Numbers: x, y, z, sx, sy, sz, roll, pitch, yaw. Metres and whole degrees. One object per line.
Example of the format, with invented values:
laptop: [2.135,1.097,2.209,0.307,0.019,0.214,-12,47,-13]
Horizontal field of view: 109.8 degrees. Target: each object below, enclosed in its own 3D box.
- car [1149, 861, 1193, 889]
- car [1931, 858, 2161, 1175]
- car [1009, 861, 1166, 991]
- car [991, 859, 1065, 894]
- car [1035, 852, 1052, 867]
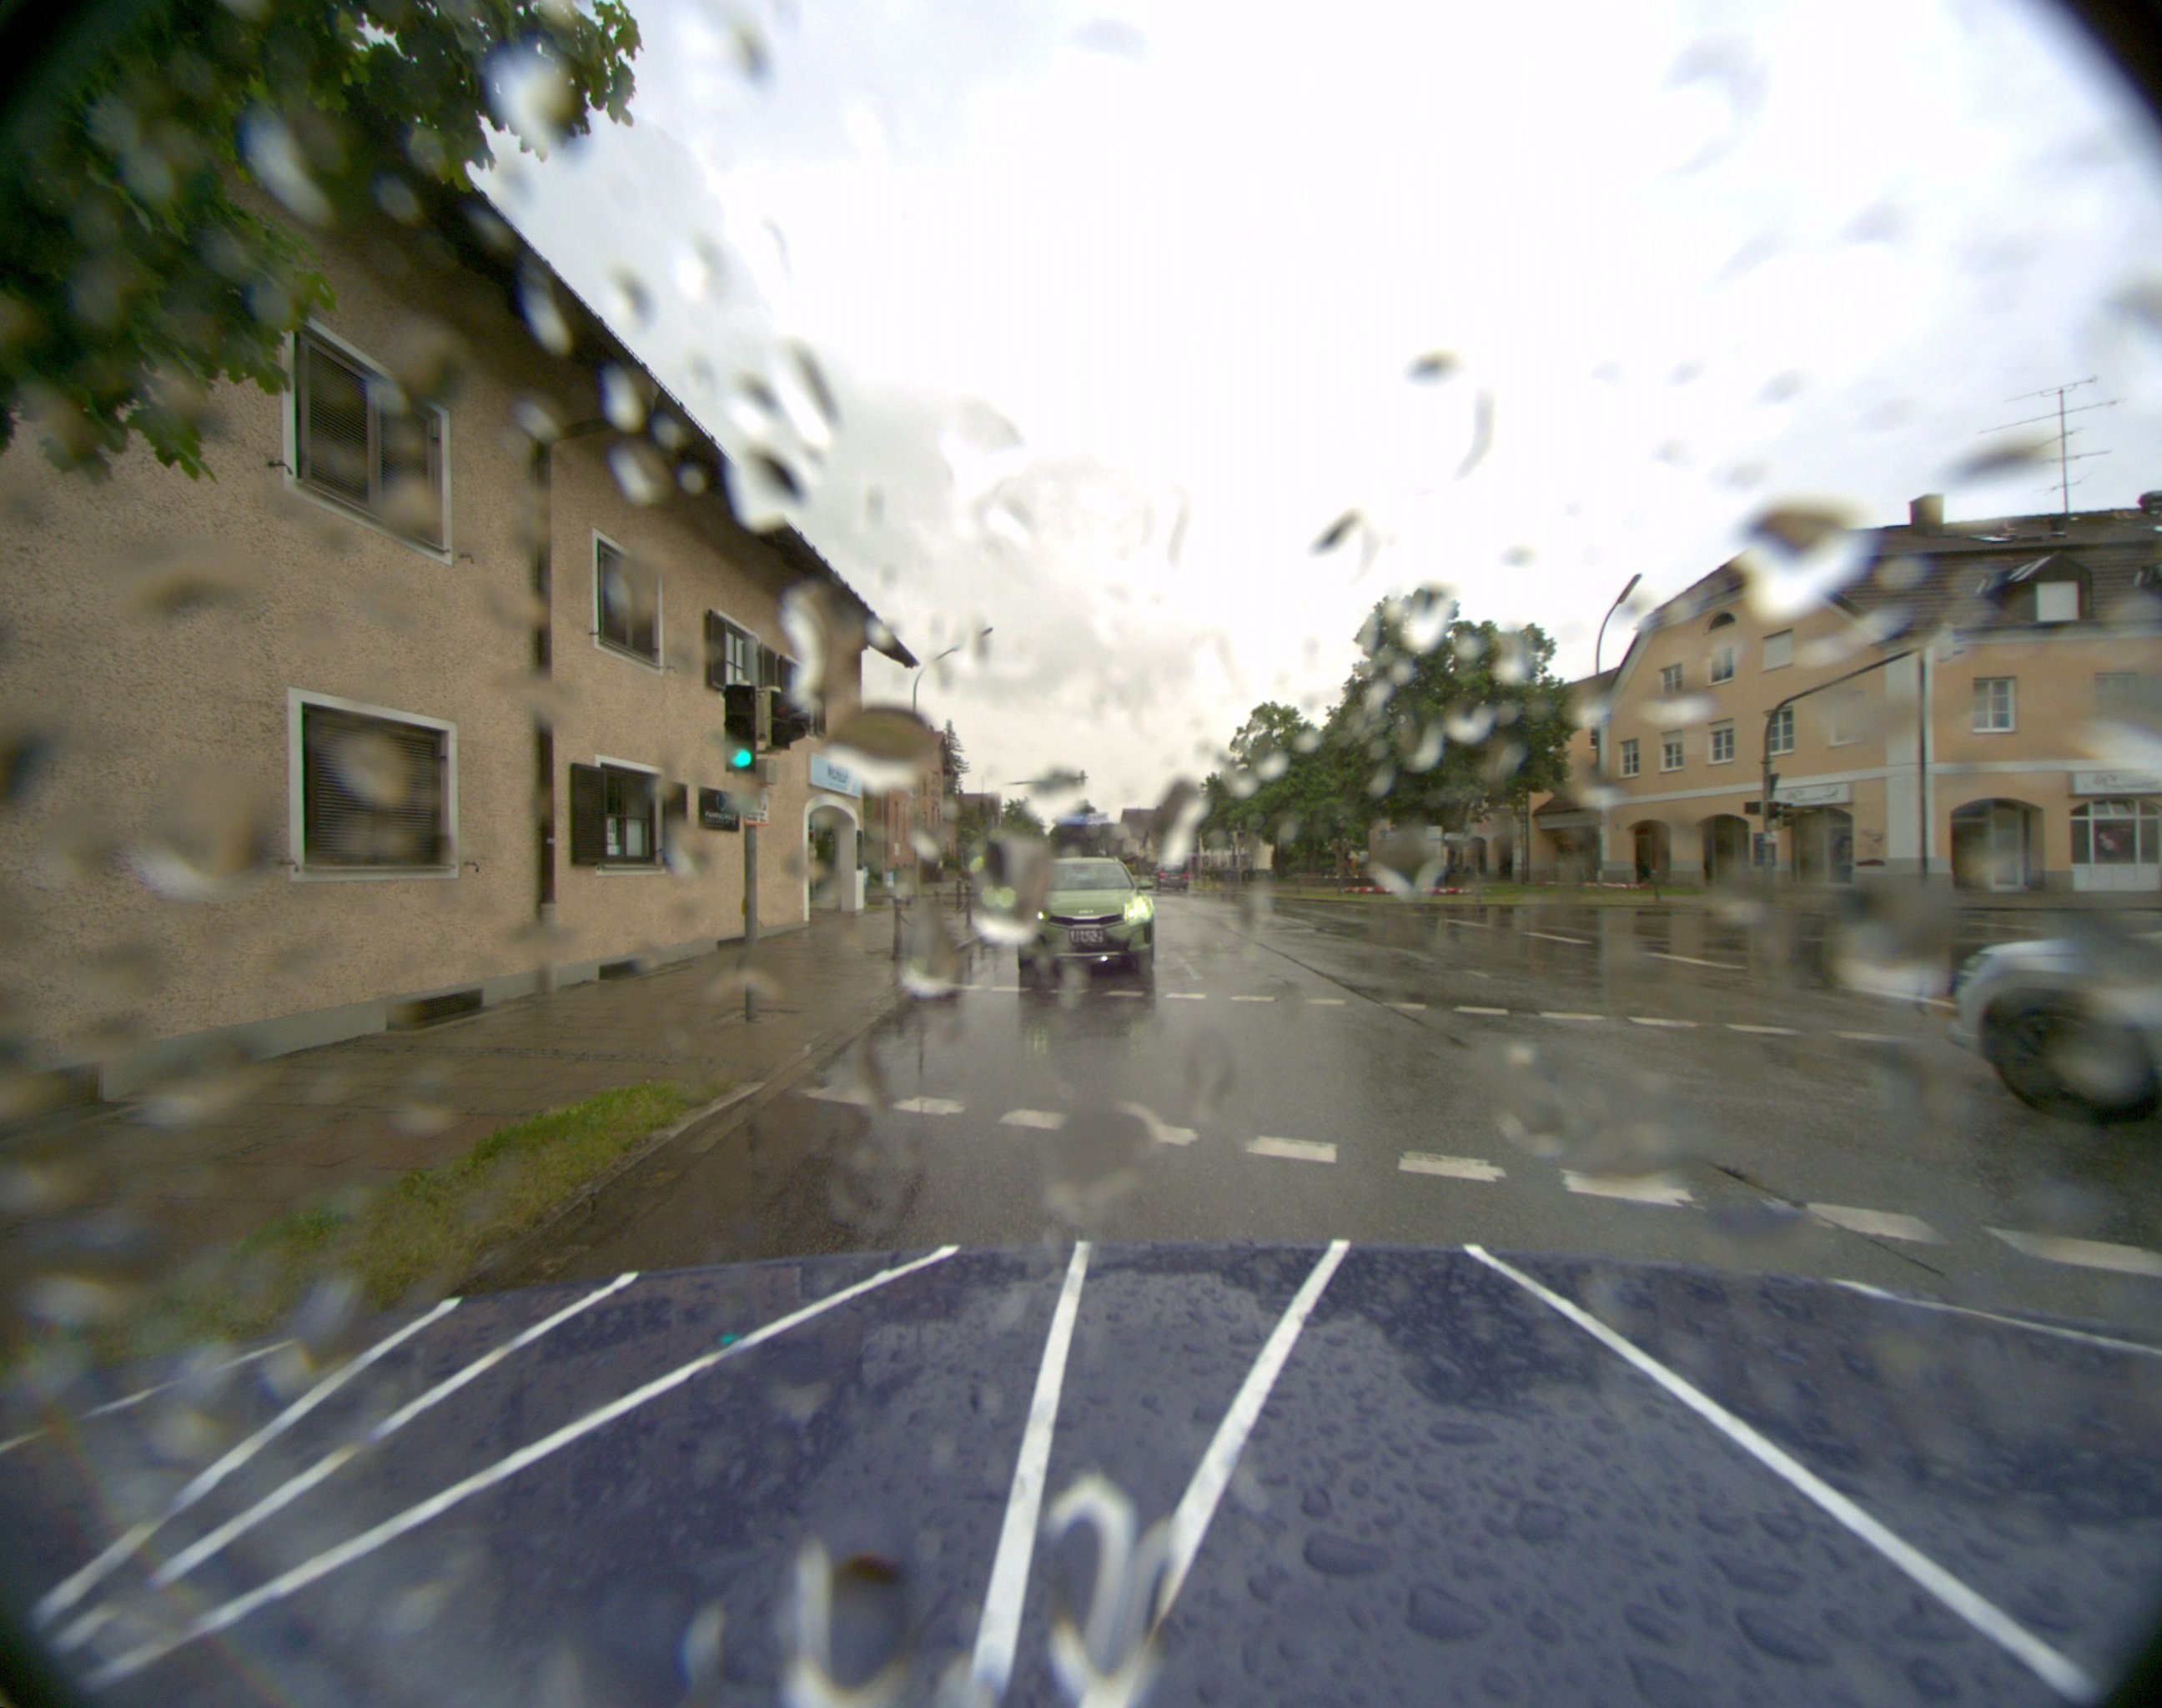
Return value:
car: [5.100,1.150,43.417,1.921,1.524,3.898,0,0,-3]
car: [6.321,0.807,2.673,1.972,1.553,4.151,0,0,-1]
car: [0.099,0.890,11.189,1.872,1.504,4.105,-1,0,1]
car: [-2.367,0.982,35.184,1.733,1.489,4.617,0,0,19]
car: [-5.277,0.788,105.783,2.218,1.977,4.952,0,0,-5]
